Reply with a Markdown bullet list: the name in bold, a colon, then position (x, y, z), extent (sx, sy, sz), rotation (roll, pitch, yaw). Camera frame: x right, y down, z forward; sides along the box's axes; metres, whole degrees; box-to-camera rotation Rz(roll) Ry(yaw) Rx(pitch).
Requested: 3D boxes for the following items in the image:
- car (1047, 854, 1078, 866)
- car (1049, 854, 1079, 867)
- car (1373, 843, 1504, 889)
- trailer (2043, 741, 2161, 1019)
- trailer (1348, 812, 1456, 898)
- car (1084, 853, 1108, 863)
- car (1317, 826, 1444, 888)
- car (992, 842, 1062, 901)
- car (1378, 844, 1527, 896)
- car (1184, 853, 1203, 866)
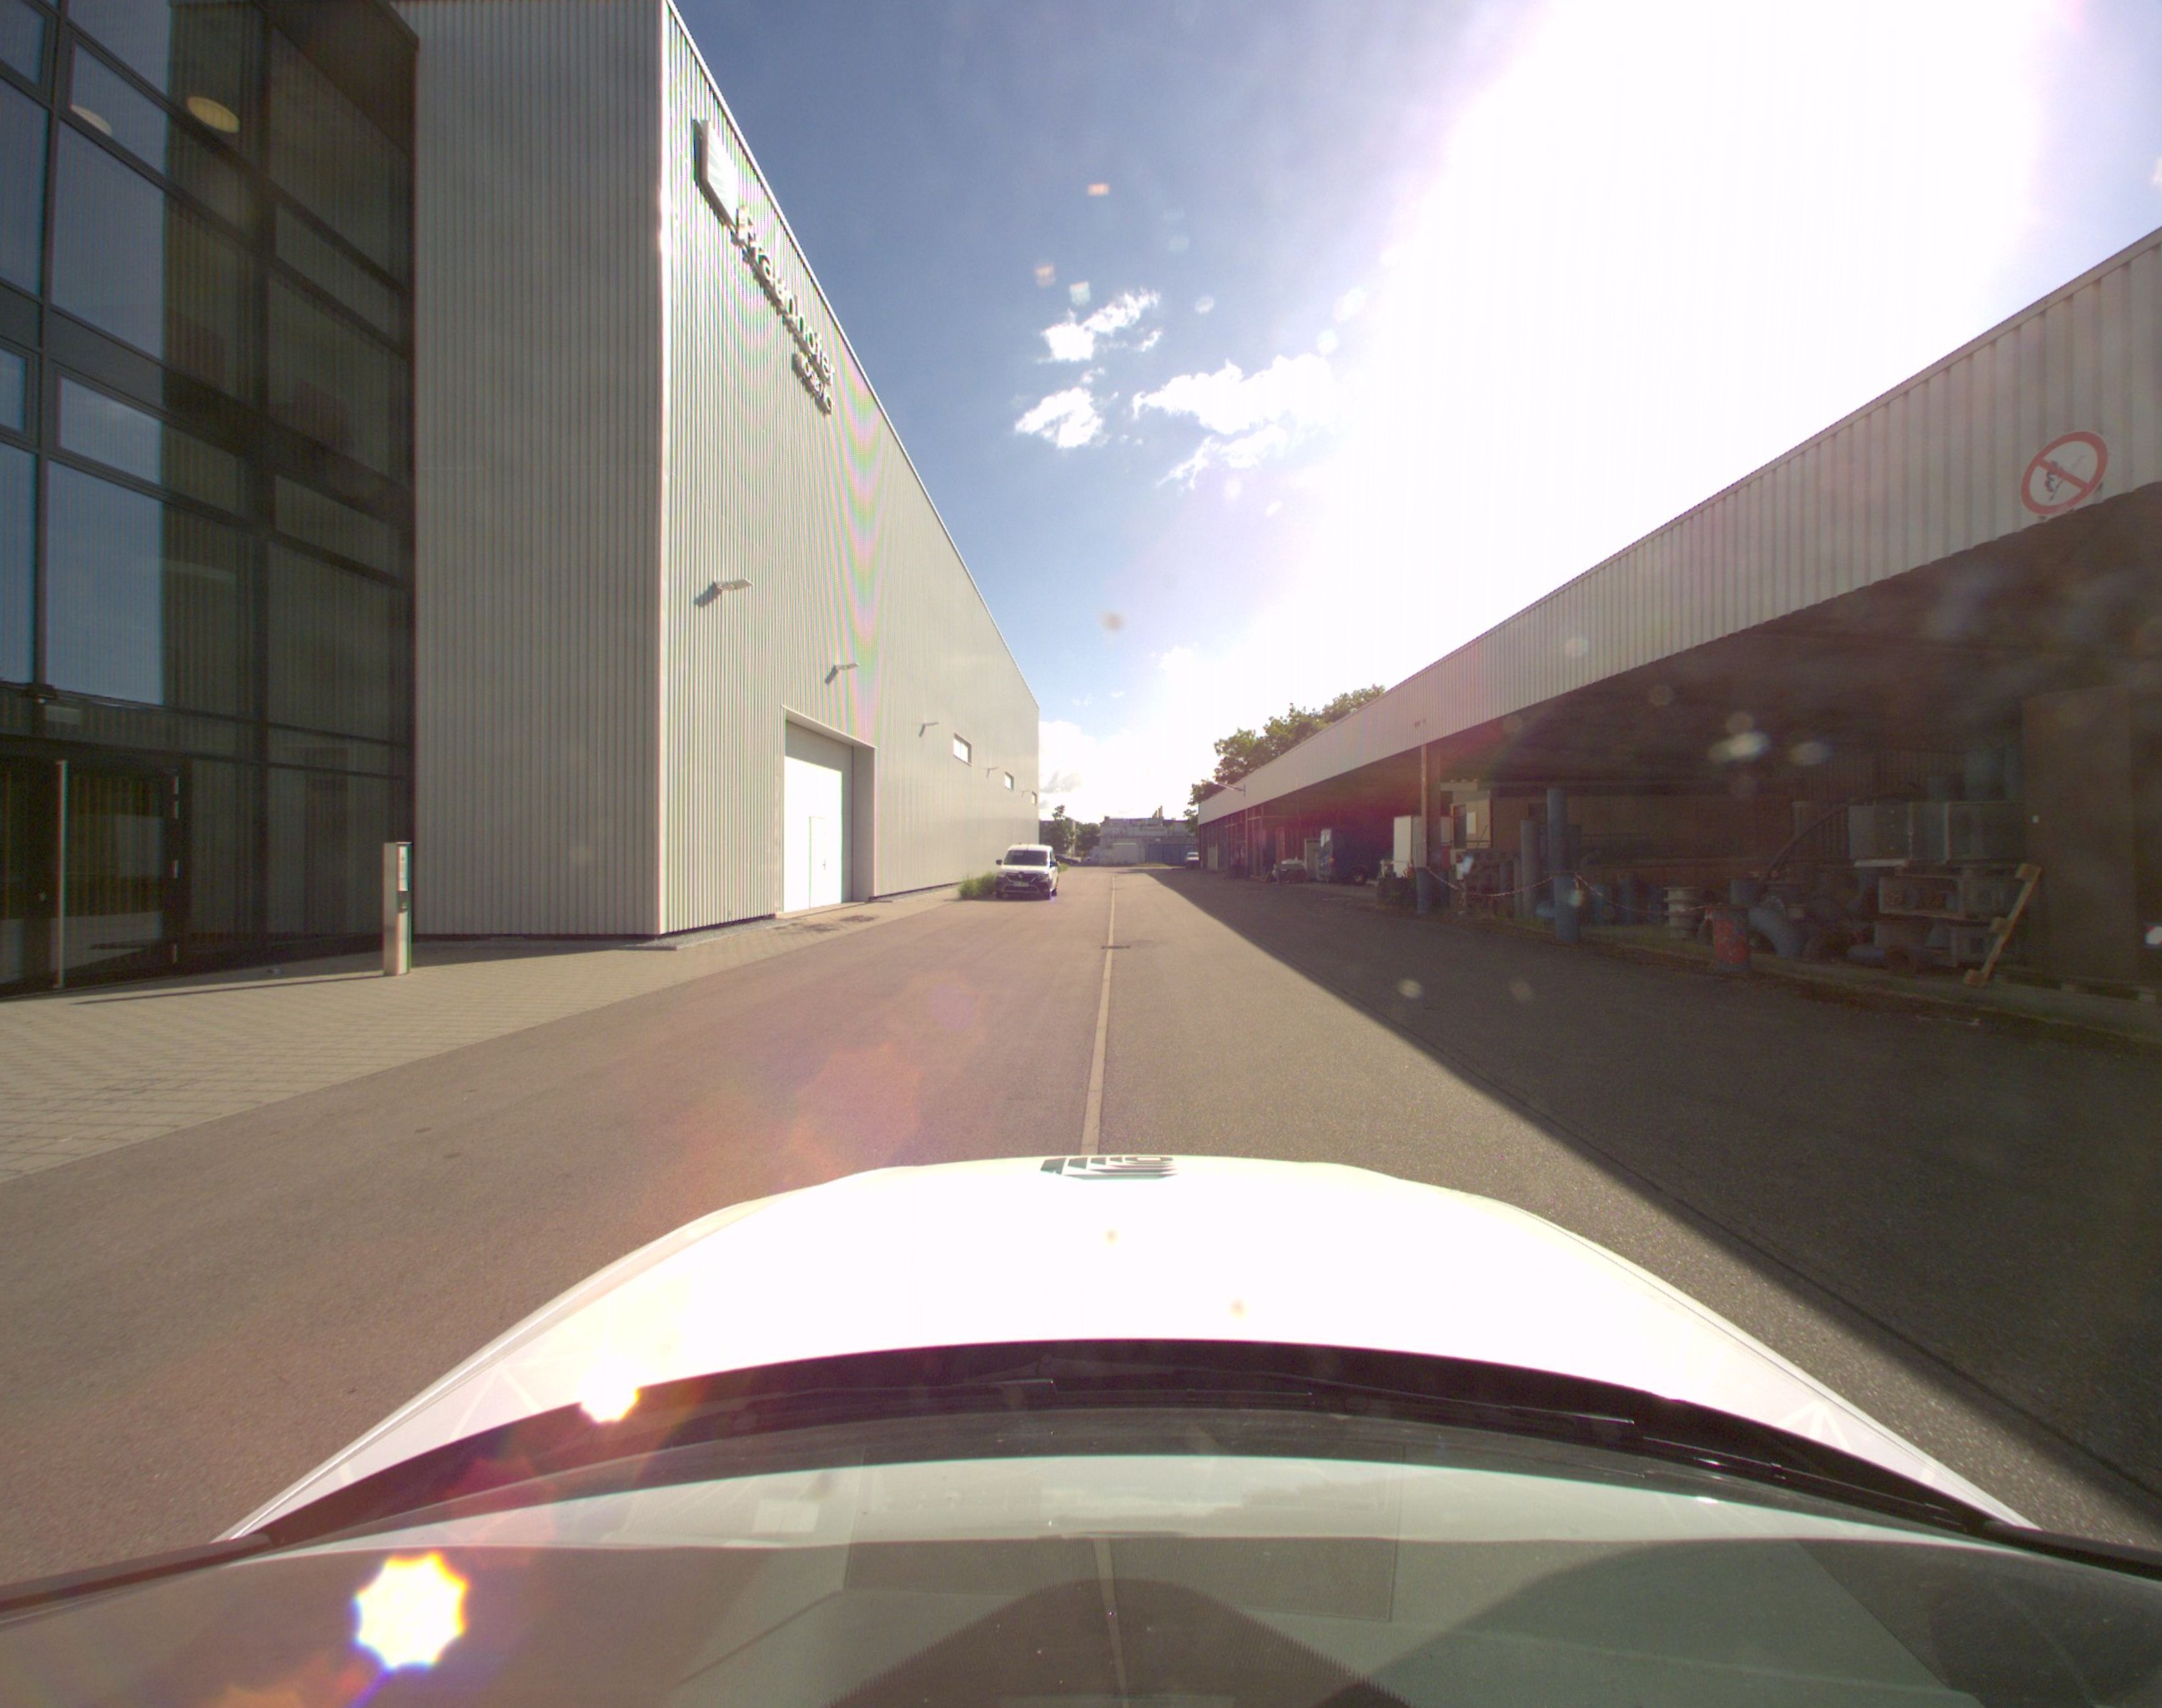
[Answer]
- **car**: position (-2.470, 0.807, 109.988), extent (3.973, 1.598, 1.742), rotation (1, -2, 1)
- **car**: position (-2.333, 0.912, 112.986), extent (3.973, 1.598, 1.707), rotation (1, -2, 1)
- **car**: position (12.855, 0.459, 29.424), extent (4.021, 1.525, 1.685), rotation (1, -2, 3)
- **trailer**: position (10.731, 0.149, 5.520), extent (5.741, 2.032, 2.079), rotation (-1, 0, 3)
- **trailer**: position (9.335, 0.038, 23.844), extent (2.513, 2.399, 1.728), rotation (0, -1, 3)
- **car**: position (2.547, 0.729, 137.739), extent (3.973, 1.598, 1.848), rotation (1, -2, 1)
- **car**: position (11.883, 0.134, 32.557), extent (4.414, 2.310, 1.917), rotation (1, -2, 3)
- **car**: position (-1.744, 0.537, 27.660), extent (1.811, 1.787, 4.408), rotation (1, 0, 3)
- **car**: position (11.786, 0.516, 26.031), extent (4.021, 1.525, 1.685), rotation (1, -2, 3)
- **car**: position (13.421, 0.640, 97.049), extent (1.953, 1.564, 4.064), rotation (1, 1, 4)
